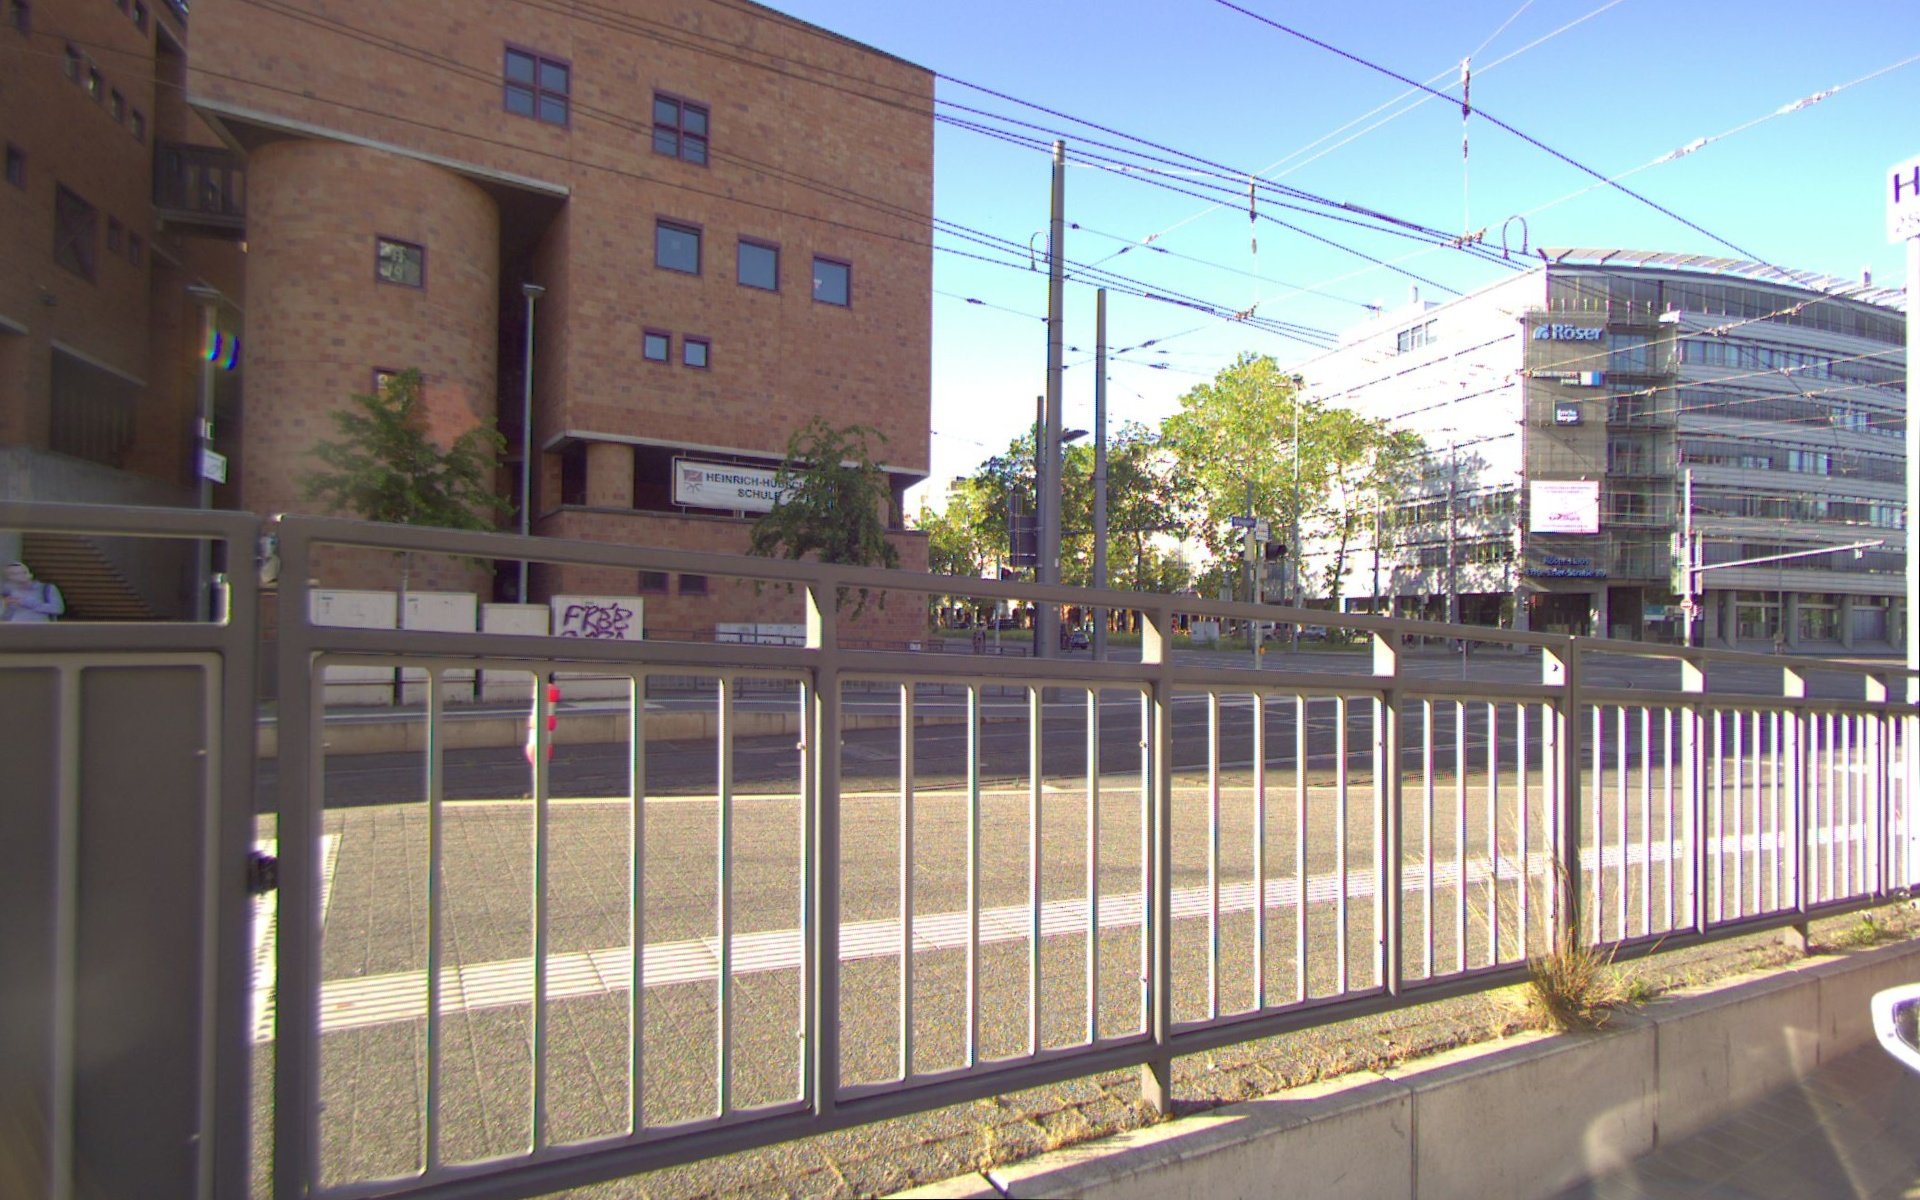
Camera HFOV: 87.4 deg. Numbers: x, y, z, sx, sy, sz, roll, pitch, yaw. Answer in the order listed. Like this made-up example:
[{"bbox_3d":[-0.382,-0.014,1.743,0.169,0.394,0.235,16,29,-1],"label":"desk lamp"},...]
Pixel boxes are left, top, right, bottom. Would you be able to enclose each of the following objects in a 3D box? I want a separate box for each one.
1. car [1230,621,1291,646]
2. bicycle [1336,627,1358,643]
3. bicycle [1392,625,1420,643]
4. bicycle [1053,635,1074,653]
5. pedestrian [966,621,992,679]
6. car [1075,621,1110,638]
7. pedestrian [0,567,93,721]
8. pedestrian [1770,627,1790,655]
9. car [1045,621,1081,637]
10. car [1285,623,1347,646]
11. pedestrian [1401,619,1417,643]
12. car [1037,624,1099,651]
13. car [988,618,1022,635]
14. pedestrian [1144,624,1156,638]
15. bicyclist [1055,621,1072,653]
[{"bbox_3d":[24.258,2.686,81.251,1.904,1.868,4.889,-1,0,-28],"label":"car"},{"bbox_3d":[30.548,2.770,79.337,1.812,1.167,0.467,0,0,-23],"label":"bicycle"},{"bbox_3d":[31.221,2.388,70.357,0.605,1.179,1.835,-2,2,-27],"label":"bicycle"},{"bbox_3d":[5.418,2.307,52.674,0.528,0.925,1.564,1,-1,-15],"label":"bicycle"},{"bbox_3d":[0.542,1.444,28.946,0.501,1.639,0.504,2,0,-40],"label":"pedestrian"},{"bbox_3d":[13.451,2.992,102.248,1.840,1.660,3.844,1,-1,-25],"label":"car"},{"bbox_3d":[-9.627,0.453,10.560,0.647,1.555,0.696,1,-1,-33],"label":"pedestrian"},{"bbox_3d":[53.743,2.700,65.821,0.872,1.847,0.674,1,-2,-20],"label":"pedestrian"},{"bbox_3d":[10.997,3.094,107.452,1.969,1.650,4.055,0,-1,-29],"label":"car"},{"bbox_3d":[26.939,2.621,76.160,1.840,1.594,4.387,-1,0,-25],"label":"car"},{"bbox_3d":[31.561,2.196,70.587,0.598,1.633,0.832,-2,2,-26],"label":"pedestrian"},{"bbox_3d":[6.232,2.163,58.287,1.639,1.346,3.587,2,0,-34],"label":"car"},{"bbox_3d":[5.216,3.083,117.548,2.011,2.003,4.382,0,-1,-29],"label":"car"},{"bbox_3d":[20.735,3.374,109.431,0.860,1.567,0.989,1,-1,-22],"label":"pedestrian"},{"bbox_3d":[5.433,1.955,52.662,0.614,1.643,0.812,1,-1,-16],"label":"bicyclist"}]
